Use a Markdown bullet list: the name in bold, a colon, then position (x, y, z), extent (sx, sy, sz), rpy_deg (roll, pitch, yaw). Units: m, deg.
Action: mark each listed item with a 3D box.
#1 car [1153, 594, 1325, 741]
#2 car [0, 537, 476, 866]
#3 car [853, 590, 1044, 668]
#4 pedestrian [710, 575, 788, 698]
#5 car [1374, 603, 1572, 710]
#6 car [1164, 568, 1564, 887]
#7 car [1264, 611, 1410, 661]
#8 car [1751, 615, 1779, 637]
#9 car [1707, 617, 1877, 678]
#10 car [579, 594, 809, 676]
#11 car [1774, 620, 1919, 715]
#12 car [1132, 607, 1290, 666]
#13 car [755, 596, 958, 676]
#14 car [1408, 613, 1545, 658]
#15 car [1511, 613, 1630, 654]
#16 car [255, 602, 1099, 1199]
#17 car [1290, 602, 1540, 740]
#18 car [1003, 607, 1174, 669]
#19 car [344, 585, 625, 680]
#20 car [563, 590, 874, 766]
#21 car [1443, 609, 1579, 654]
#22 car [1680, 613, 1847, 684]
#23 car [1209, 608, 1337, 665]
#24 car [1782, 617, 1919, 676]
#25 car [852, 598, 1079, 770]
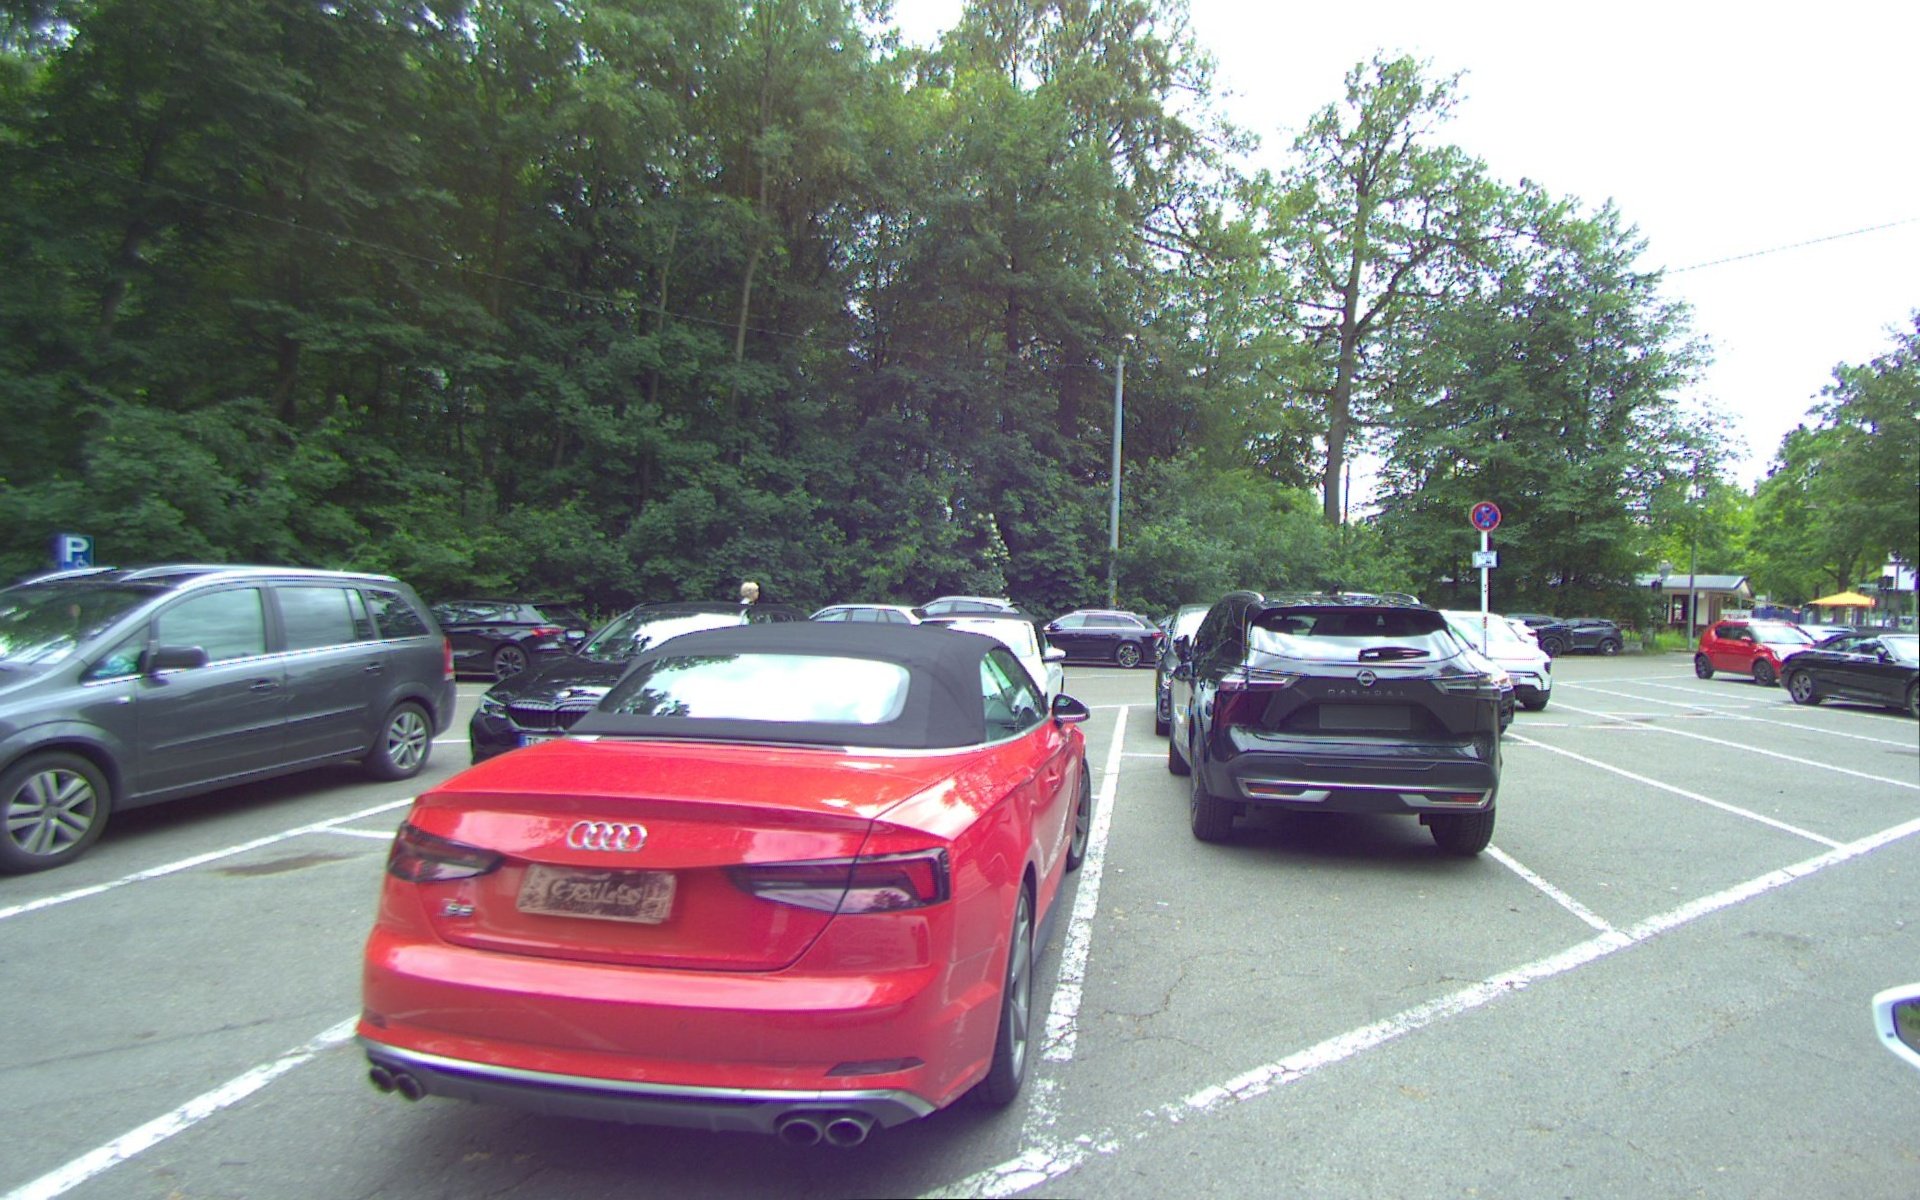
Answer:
- **car**: position (3.561, 0.786, 13.476), extent (1.810, 1.608, 3.980), rpy_deg (2, 0, 10)
- **car**: position (-5.383, 0.493, 6.556), extent (1.792, 1.630, 4.390), rpy_deg (1, 0, 9)
- **car**: position (-0.211, 0.649, 23.769), extent (4.176, 1.658, 1.967), rpy_deg (1, 0, 11)
- **pedestrian**: position (-3.115, 0.521, 14.828), extent (0.887, 1.748, 0.757), rpy_deg (1, 0, -33)
- **car**: position (8.897, 0.890, 17.843), extent (1.809, 1.618, 4.192), rpy_deg (2, 0, 8)
- **car**: position (2.605, 0.694, 7.522), extent (1.860, 1.685, 4.002), rpy_deg (1, 0, 8)
- **car**: position (12.071, 1.129, 32.416), extent (4.209, 1.432, 1.929), rpy_deg (1, 0, 15)
- **car**: position (76.747, 2.455, 95.834), extent (1.969, 2.040, 3.983), rpy_deg (2, 0, 38)
- **car**: position (23.317, 1.285, 28.372), extent (1.839, 1.503, 4.002), rpy_deg (1, 0, 8)
- **car**: position (-5.170, 0.651, 19.801), extent (3.919, 1.441, 1.911), rpy_deg (1, 0, 10)
- **car**: position (16.576, 1.145, 17.393), extent (1.831, 1.461, 4.319), rpy_deg (1, 0, 8)
- **car**: position (6.900, 0.975, 27.952), extent (4.102, 1.477, 1.806), rpy_deg (1, 0, 11)
- **car**: position (-2.186, 0.733, 21.584), extent (3.919, 1.486, 1.836), rpy_deg (2, 0, 15)
- **car**: position (18.558, 1.243, 36.254), extent (4.036, 1.458, 1.871), rpy_deg (1, 0, 14)
- **car**: position (24.598, 1.342, 40.581), extent (3.715, 1.512, 1.701), rpy_deg (1, 0, 10)
- **car**: position (-0.390, 0.738, 4.358), extent (1.733, 1.413, 4.394), rpy_deg (1, 0, 11)
- **car**: position (6.053, 0.850, 13.923), extent (1.835, 1.575, 4.001), rpy_deg (2, 0, 4)
- **car**: position (3.301, 0.935, 25.876), extent (4.176, 1.396, 1.967), rpy_deg (1, 0, 9)
- **car**: position (-8.298, 0.540, 17.677), extent (4.119, 1.482, 1.900), rpy_deg (1, 0, 11)
- **car**: position (-2.286, 0.674, 10.772), extent (1.724, 1.462, 4.281), rpy_deg (1, 0, 9)
- **car**: position (20.967, 1.168, 38.359), extent (4.118, 1.601, 1.959), rpy_deg (1, 0, 9)
- **car**: position (20.391, 1.181, 25.694), extent (1.652, 1.606, 3.656), rpy_deg (1, 0, 8)
- **car**: position (9.303, 1.056, 30.117), extent (3.510, 1.525, 1.736), rpy_deg (1, 0, 13)
- **car**: position (26.236, 1.297, 29.344), extent (1.793, 1.543, 4.102), rpy_deg (1, 0, 13)
- **car**: position (0.251, 0.746, 10.795), extent (1.737, 1.462, 3.848), rpy_deg (1, 0, 11)
